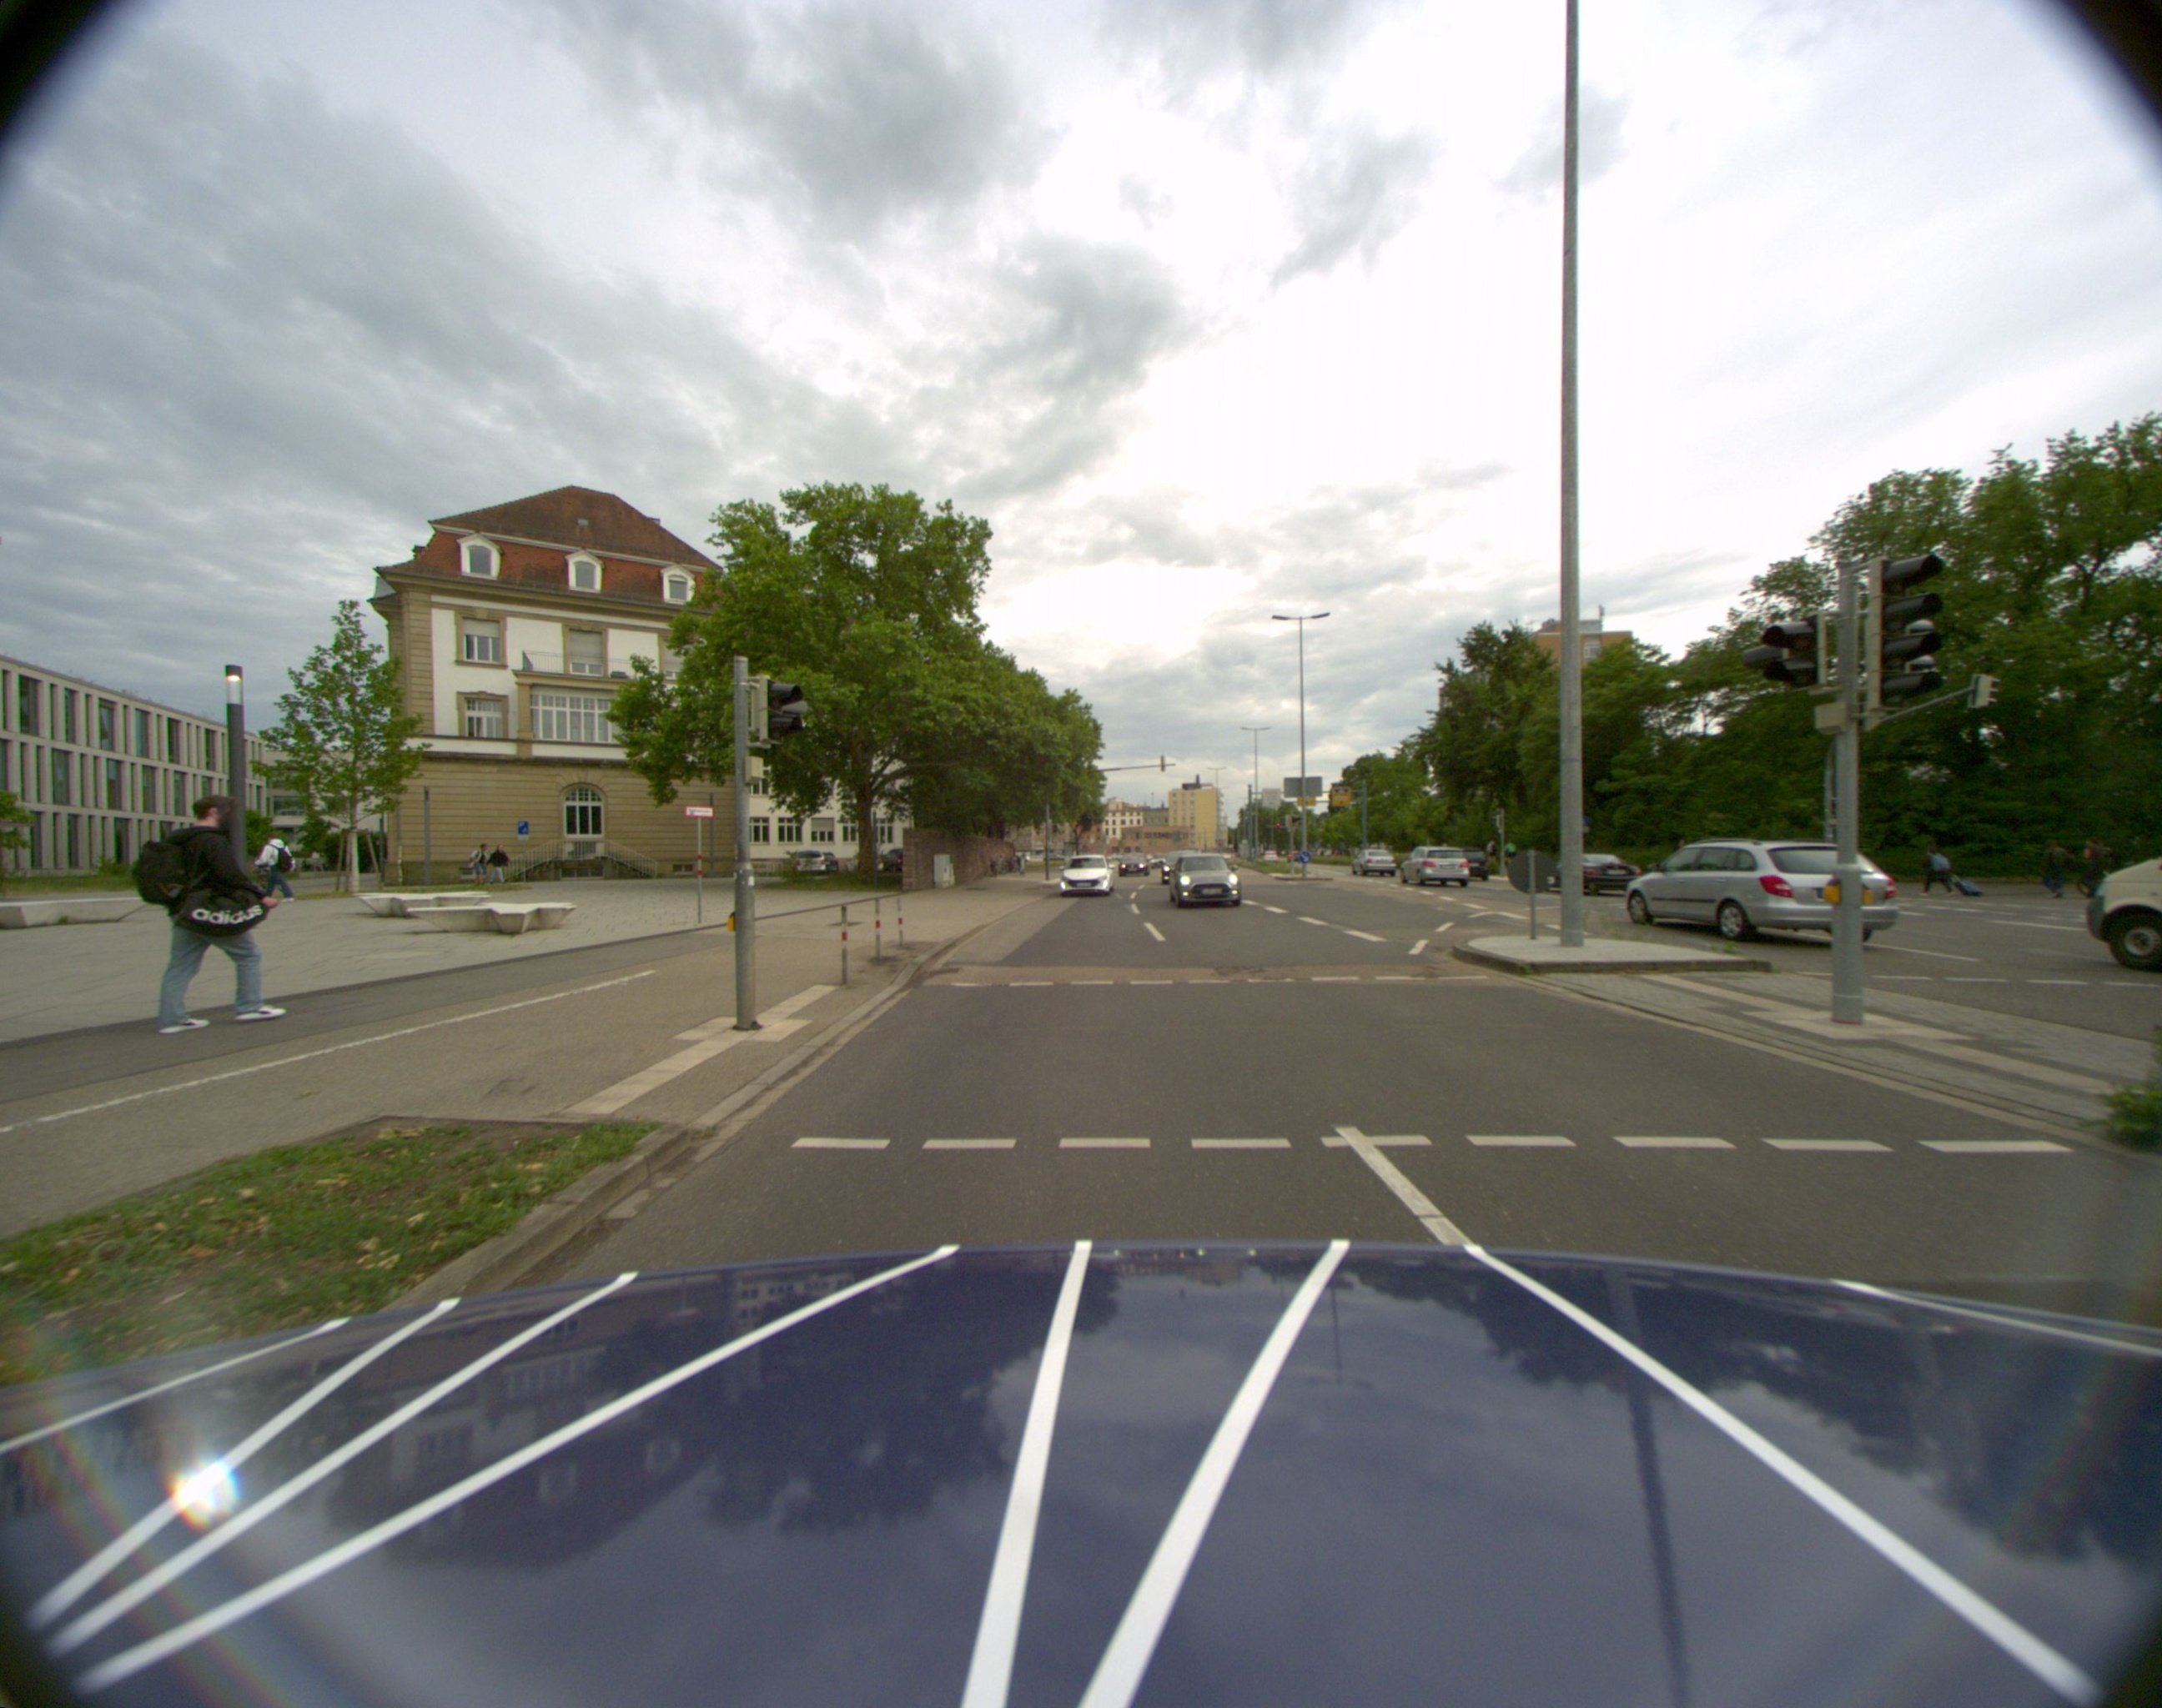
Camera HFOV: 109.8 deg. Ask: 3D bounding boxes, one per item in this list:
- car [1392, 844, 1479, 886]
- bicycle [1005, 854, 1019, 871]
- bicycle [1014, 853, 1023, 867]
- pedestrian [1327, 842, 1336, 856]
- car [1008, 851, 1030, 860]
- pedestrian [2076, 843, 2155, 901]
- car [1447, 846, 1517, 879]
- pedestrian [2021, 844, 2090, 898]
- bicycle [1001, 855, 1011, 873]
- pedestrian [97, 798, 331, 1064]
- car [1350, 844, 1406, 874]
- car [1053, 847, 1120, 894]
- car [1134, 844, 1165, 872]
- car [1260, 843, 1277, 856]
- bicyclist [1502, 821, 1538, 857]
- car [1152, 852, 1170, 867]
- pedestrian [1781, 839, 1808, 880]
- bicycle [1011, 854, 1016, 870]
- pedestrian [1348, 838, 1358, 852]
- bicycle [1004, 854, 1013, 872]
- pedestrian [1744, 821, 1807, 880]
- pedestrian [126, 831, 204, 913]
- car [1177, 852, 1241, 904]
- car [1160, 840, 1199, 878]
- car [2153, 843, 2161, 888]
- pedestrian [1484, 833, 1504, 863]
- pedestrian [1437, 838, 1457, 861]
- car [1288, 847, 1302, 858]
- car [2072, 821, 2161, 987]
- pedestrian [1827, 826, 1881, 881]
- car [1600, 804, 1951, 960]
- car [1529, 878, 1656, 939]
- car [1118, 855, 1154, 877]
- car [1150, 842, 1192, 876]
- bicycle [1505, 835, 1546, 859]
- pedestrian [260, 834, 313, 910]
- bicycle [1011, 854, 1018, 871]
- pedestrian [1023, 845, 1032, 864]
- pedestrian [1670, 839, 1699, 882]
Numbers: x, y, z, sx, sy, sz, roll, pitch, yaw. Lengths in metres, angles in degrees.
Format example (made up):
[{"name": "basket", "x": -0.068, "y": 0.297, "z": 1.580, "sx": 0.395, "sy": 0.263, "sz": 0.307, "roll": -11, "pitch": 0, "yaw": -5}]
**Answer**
[{"name": "car", "x": 14.041, "y": 0.405, "z": 30.368, "sx": 1.961, "sy": 1.574, "sz": 4.258, "roll": 0, "pitch": 0, "yaw": 8}, {"name": "bicycle", "x": -4.771, "y": 0.599, "z": 52.661, "sx": 0.386, "sy": 1.137, "sz": 1.938, "roll": -3, "pitch": 0, "yaw": -22}, {"name": "bicycle", "x": -4.907, "y": 0.442, "z": 59.482, "sx": 0.478, "sy": 1.070, "sz": 2.083, "roll": 0, "pitch": 1, "yaw": 2}, {"name": "pedestrian", "x": 38.034, "y": -0.774, "z": 115.372, "sx": 0.881, "sy": 2.002, "sz": 1.221, "roll": -2, "pitch": 1, "yaw": 1}, {"name": "car", "x": -11.973, "y": 0.257, "z": 147.372, "sx": 3.996, "sy": 1.760, "sz": 2.000, "roll": 0, "pitch": 1, "yaw": 3}, {"name": "pedestrian", "x": 27.690, "y": 0.458, "z": 20.362, "sx": 0.823, "sy": 1.504, "sz": 0.976, "roll": 0, "pitch": 1, "yaw": 16}, {"name": "car", "x": 19.045, "y": 0.376, "z": 36.246, "sx": 1.856, "sy": 1.455, "sz": 3.699, "roll": 0, "pitch": 1, "yaw": 9}, {"name": "pedestrian", "x": 26.964, "y": 0.469, "z": 21.037, "sx": 0.701, "sy": 1.420, "sz": 0.998, "roll": -3, "pitch": 1, "yaw": -23}, {"name": "bicycle", "x": -4.771, "y": 0.614, "z": 47.989, "sx": 0.386, "sy": 1.137, "sz": 1.940, "roll": -3, "pitch": 0, "yaw": -11}, {"name": "pedestrian", "x": -7.009, "y": 0.581, "z": 6.198, "sx": 0.844, "sy": 2.002, "sz": 0.895, "roll": 0, "pitch": 1, "yaw": 7}, {"name": "car", "x": 16.184, "y": 0.233, "z": 41.671, "sx": 1.997, "sy": 1.520, "sz": 4.276, "roll": 0, "pitch": 1, "yaw": 9}, {"name": "car", "x": 0.288, "y": 0.529, "z": 27.173, "sx": 1.812, "sy": 1.533, "sz": 4.002, "roll": 0, "pitch": 1, "yaw": 9}, {"name": "car", "x": 5.113, "y": 0.278, "z": 56.615, "sx": 1.997, "sy": 2.002, "sz": 4.002, "roll": 0, "pitch": 1, "yaw": 9}, {"name": "car", "x": 27.103, "y": -0.732, "z": 109.678, "sx": 1.892, "sy": 1.763, "sz": 4.002, "roll": -2, "pitch": 1, "yaw": 8}, {"name": "bicyclist", "x": 25.761, "y": -0.877, "z": 44.587, "sx": 1.184, "sy": 2.002, "sz": 1.280, "roll": -3, "pitch": 1, "yaw": -14}, {"name": "car", "x": 7.969, "y": 0.517, "z": 75.753, "sx": 1.605, "sy": 1.360, "sz": 3.580, "roll": -2, "pitch": 1, "yaw": 8}, {"name": "pedestrian", "x": 28.241, "y": 0.197, "z": 30.081, "sx": 0.503, "sy": 1.597, "sz": 0.602, "roll": -1, "pitch": 1, "yaw": -5}, {"name": "bicycle", "x": -4.991, "y": 0.597, "z": 56.143, "sx": 0.339, "sy": 1.137, "sz": 1.677, "roll": -3, "pitch": 0, "yaw": -6}, {"name": "pedestrian", "x": 38.806, "y": -1.269, "z": 108.390, "sx": 1.136, "sy": 1.908, "sz": 1.163, "roll": -2, "pitch": 1, "yaw": 12}, {"name": "bicycle", "x": -4.898, "y": 0.609, "z": 51.164, "sx": 0.386, "sy": 1.137, "sz": 1.940, "roll": -3, "pitch": 0, "yaw": -11}, {"name": "pedestrian", "x": 24.612, "y": -0.119, "z": 26.957, "sx": 1.184, "sy": 2.002, "sz": 1.140, "roll": -3, "pitch": 1, "yaw": -14}, {"name": "pedestrian", "x": -21.545, "y": 0.401, "z": 17.891, "sx": 0.738, "sy": 1.875, "sz": 0.888, "roll": -1, "pitch": 1, "yaw": -13}, {"name": "car", "x": 3.576, "y": 0.622, "z": 21.359, "sx": 1.624, "sy": 1.310, "sz": 3.708, "roll": 0, "pitch": 1, "yaw": 9}, {"name": "car", "x": 5.498, "y": 0.255, "z": 42.097, "sx": 1.997, "sy": 2.002, "sz": 4.002, "roll": 0, "pitch": 1, "yaw": 9}, {"name": "car", "x": 36.747, "y": 0.336, "z": 23.759, "sx": 3.592, "sy": 1.442, "sz": 1.863, "roll": -2, "pitch": 0, "yaw": 5}, {"name": "pedestrian", "x": 28.614, "y": -0.380, "z": 52.626, "sx": 0.908, "sy": 2.001, "sz": 0.823, "roll": -5, "pitch": -2, "yaw": 13}, {"name": "pedestrian", "x": 25.999, "y": -0.334, "z": 53.952, "sx": 0.990, "sy": 1.616, "sz": 0.814, "roll": -2, "pitch": 1, "yaw": 6}, {"name": "car", "x": 30.471, "y": -0.256, "z": 108.403, "sx": 1.852, "sy": 1.543, "sz": 4.004, "roll": -1, "pitch": 0, "yaw": 15}, {"name": "car", "x": 12.607, "y": 0.543, "z": 6.921, "sx": 1.775, "sy": 1.837, "sz": 4.492, "roll": -2, "pitch": 0, "yaw": 10}, {"name": "pedestrian", "x": 29.266, "y": -0.033, "z": 28.770, "sx": 1.042, "sy": 2.002, "sz": 1.098, "roll": -3, "pitch": 1, "yaw": -26}, {"name": "car", "x": 10.311, "y": 0.343, "z": 11.808, "sx": 1.998, "sy": 2.002, "sz": 4.001, "roll": 0, "pitch": 1, "yaw": 5}, {"name": "car", "x": 16.132, "y": 1.648, "z": 24.247, "sx": 1.997, "sy": 1.610, "sz": 4.003, "roll": 0, "pitch": 1, "yaw": 12}, {"name": "car", "x": 3.390, "y": 0.702, "z": 46.386, "sx": 1.702, "sy": 1.181, "sz": 2.832, "roll": -2, "pitch": 0, "yaw": 13}, {"name": "car", "x": 4.184, "y": 0.203, "z": 34.813, "sx": 1.731, "sy": 1.450, "sz": 4.002, "roll": 0, "pitch": 1, "yaw": 9}, {"name": "bicycle", "x": 26.006, "y": -0.400, "z": 44.515, "sx": 0.607, "sy": 1.325, "sz": 2.308, "roll": -3, "pitch": 0, "yaw": -14}, {"name": "pedestrian", "x": -20.788, "y": 0.450, "z": 19.906, "sx": 0.655, "sy": 1.948, "sz": 0.686, "roll": -1, "pitch": 1, "yaw": -13}, {"name": "bicycle", "x": -4.758, "y": 0.593, "z": 54.292, "sx": 0.339, "sy": 1.137, "sz": 1.940, "roll": -3, "pitch": 0, "yaw": -6}, {"name": "pedestrian", "x": -5.805, "y": 0.031, "z": 81.987, "sx": 0.784, "sy": 2.002, "sz": 0.888, "roll": -1, "pitch": 1, "yaw": -15}, {"name": "pedestrian", "x": 23.818, "y": 0.254, "z": 29.984, "sx": 0.590, "sy": 1.685, "sz": 0.653, "roll": 2, "pitch": 1, "yaw": 8}]
